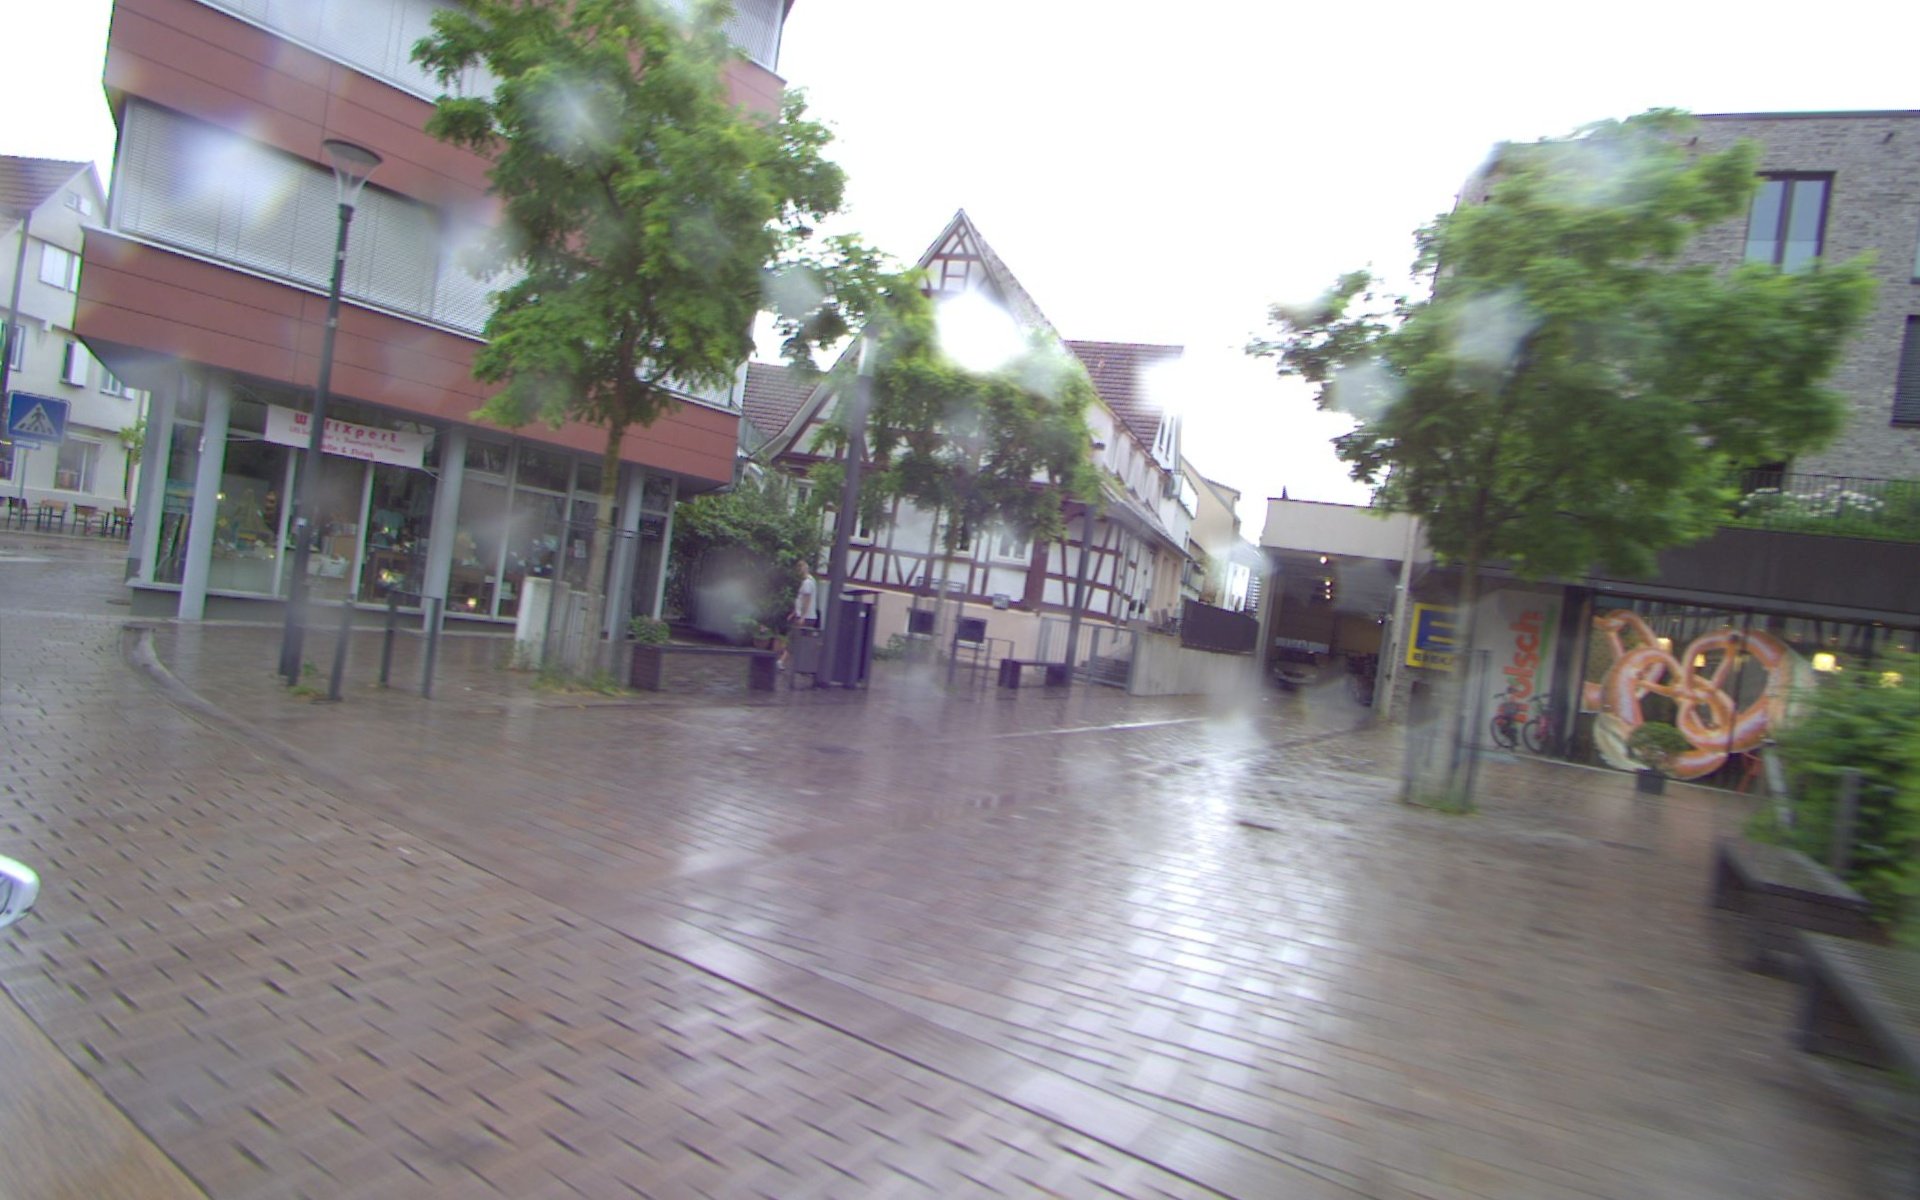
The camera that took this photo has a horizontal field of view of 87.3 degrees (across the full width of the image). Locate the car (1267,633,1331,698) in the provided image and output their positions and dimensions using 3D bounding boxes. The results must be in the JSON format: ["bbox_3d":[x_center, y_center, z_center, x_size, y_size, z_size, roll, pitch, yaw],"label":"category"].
[{"bbox_3d":[12.844,2.427,38.322,1.962,2.039,3.999,7,1,17],"label":"car"}]

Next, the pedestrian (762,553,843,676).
[{"bbox_3d":[-2.481,0.233,15.832,0.842,1.808,0.699,5,3,-44],"label":"pedestrian"}]

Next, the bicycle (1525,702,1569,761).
[{"bbox_3d":[11.659,2.591,20.021,0.440,0.981,1.704,7,1,23],"label":"bicycle"}]

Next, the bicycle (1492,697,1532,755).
[{"bbox_3d":[11.141,2.518,20.335,0.440,0.981,1.704,7,1,23],"label":"bicycle"}]
